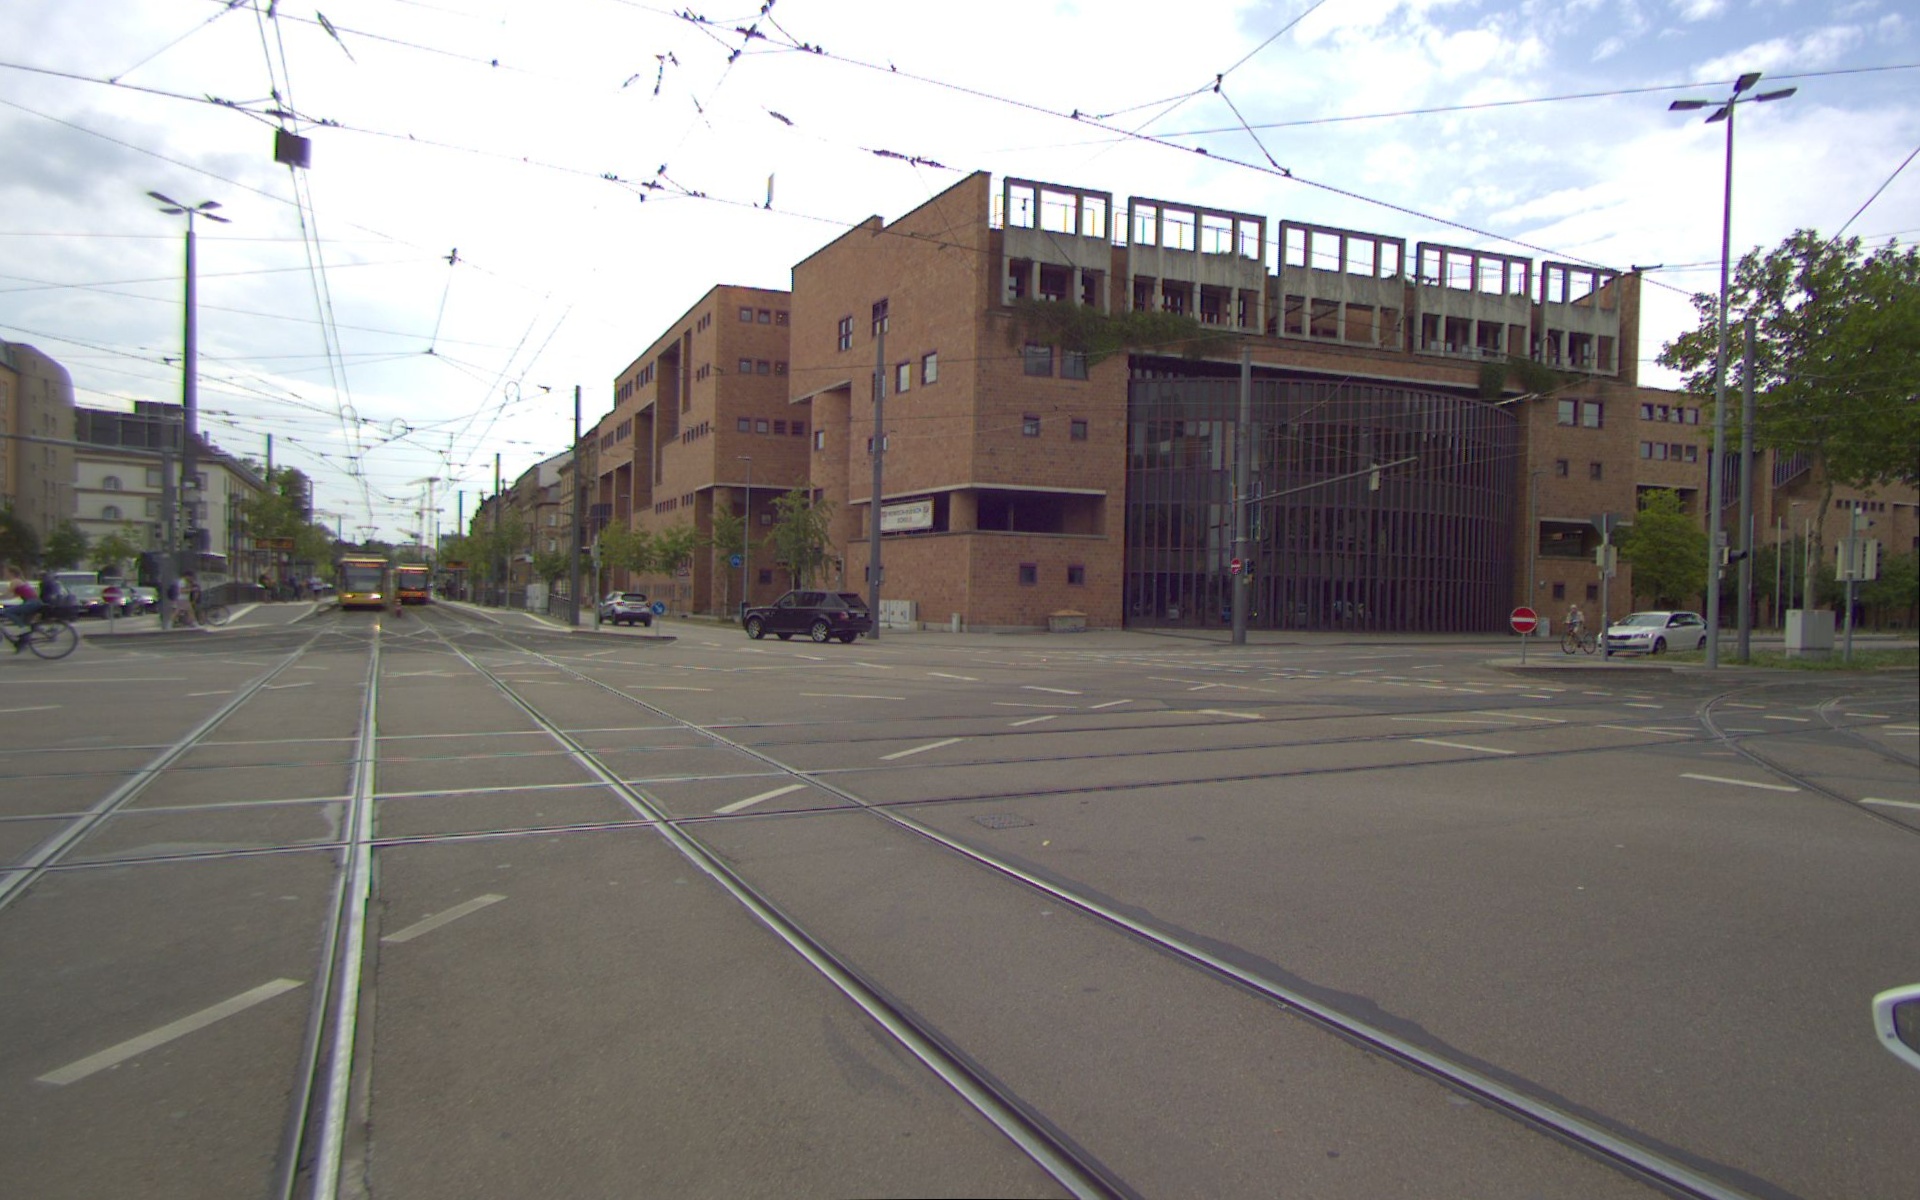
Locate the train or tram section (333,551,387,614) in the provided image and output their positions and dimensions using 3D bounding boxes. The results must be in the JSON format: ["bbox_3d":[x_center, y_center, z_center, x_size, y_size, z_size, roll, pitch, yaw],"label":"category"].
[{"bbox_3d":[-36.325,-1.009,60.996,2.546,3.497,9.532,0,0,-29],"label":"train or tram section"}]

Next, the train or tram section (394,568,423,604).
[{"bbox_3d":[-55.277,-1.350,100.533,2.401,3.479,10.439,0,0,-29],"label":"train or tram section"}]

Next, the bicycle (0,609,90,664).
[{"bbox_3d":[-16.904,0.649,18.005,1.872,0.949,0.653,1,0,-33],"label":"bicycle"}]

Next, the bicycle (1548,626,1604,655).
[{"bbox_3d":[21.178,1.378,34.506,2.098,0.929,0.726,0,1,-30],"label":"bicycle"}]

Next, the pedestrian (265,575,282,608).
[{"bbox_3d":[-32.580,-0.406,47.697,0.648,1.557,0.488,1,0,-34],"label":"pedestrian"}]

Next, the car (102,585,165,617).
[{"bbox_3d":[-39.251,0.022,47.782,1.683,1.461,3.967,0,1,-31],"label":"car"}]

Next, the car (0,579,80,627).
[{"bbox_3d":[-34.488,0.100,37.443,1.780,1.706,3.967,1,0,-30],"label":"car"}]

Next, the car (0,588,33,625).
[{"bbox_3d":[-40.162,0.241,41.681,1.683,1.461,3.967,1,0,-31],"label":"car"}]

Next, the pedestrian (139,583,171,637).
[{"bbox_3d":[-26.480,0.324,33.050,0.743,1.755,0.573,1,0,-35],"label":"pedestrian"}]

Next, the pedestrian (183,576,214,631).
[{"bbox_3d":[-24.666,0.127,32.553,0.743,1.755,0.573,1,0,-35],"label":"pedestrian"}]

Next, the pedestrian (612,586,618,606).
[{"bbox_3d":[-30.855,-0.365,89.889,0.428,1.732,0.527,1,0,-32],"label":"pedestrian"}]

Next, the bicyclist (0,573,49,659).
[{"bbox_3d":[-16.928,0.282,17.982,0.809,1.521,0.645,1,0,-33],"label":"bicyclist"}]

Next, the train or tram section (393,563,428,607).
[{"bbox_3d":[-46.453,-1.200,84.843,2.422,3.497,9.532,0,0,-29],"label":"train or tram section"}]

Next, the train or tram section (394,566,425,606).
[{"bbox_3d":[-50.675,-1.258,92.351,2.413,3.486,8.101,0,0,-29],"label":"train or tram section"}]

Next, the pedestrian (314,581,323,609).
[{"bbox_3d":[-40.131,-0.313,62.835,0.487,1.755,0.539,1,0,-32],"label":"pedestrian"}]

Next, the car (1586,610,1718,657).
[{"bbox_3d":[22.901,1.063,33.204,4.602,1.440,1.775,0,1,-30],"label":"car"}]

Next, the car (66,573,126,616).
[{"bbox_3d":[-48.233,-0.315,56.172,1.683,2.260,4.795,1,0,-31],"label":"car"}]

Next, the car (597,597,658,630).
[{"bbox_3d":[-15.829,0.630,47.722,1.911,1.451,4.268,1,0,-30],"label":"car"}]

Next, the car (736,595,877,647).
[{"bbox_3d":[-5.284,0.691,34.633,4.444,1.630,1.933,1,0,23],"label":"car"}]

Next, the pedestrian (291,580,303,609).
[{"bbox_3d":[-39.756,-0.315,60.231,0.539,1.755,0.487,1,0,-38],"label":"pedestrian"}]

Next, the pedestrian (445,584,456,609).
[{"bbox_3d":[-42.005,-0.254,82.878,0.770,2.041,1.220,0,1,-29],"label":"pedestrian"}]

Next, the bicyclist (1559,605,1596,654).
[{"bbox_3d":[21.202,0.995,34.507,0.890,1.631,0.719,0,1,-29],"label":"bicyclist"}]

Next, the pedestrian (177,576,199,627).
[{"bbox_3d":[-27.026,0.060,35.157,0.573,1.755,0.624,1,0,-39],"label":"pedestrian"}]

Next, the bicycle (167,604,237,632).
[{"bbox_3d":[-25.151,0.607,33.358,1.771,0.900,0.476,1,0,-31],"label":"bicycle"}]

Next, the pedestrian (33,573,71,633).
[{"bbox_3d":[-26.778,0.082,29.637,0.743,1.755,0.573,1,0,-35],"label":"pedestrian"}]

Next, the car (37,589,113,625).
[{"bbox_3d":[-37.693,0.287,42.872,1.683,1.461,3.967,1,0,-31],"label":"car"}]

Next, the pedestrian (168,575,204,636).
[{"bbox_3d":[-22.589,0.169,29.331,0.742,1.755,0.574,1,0,-30],"label":"pedestrian"}]
